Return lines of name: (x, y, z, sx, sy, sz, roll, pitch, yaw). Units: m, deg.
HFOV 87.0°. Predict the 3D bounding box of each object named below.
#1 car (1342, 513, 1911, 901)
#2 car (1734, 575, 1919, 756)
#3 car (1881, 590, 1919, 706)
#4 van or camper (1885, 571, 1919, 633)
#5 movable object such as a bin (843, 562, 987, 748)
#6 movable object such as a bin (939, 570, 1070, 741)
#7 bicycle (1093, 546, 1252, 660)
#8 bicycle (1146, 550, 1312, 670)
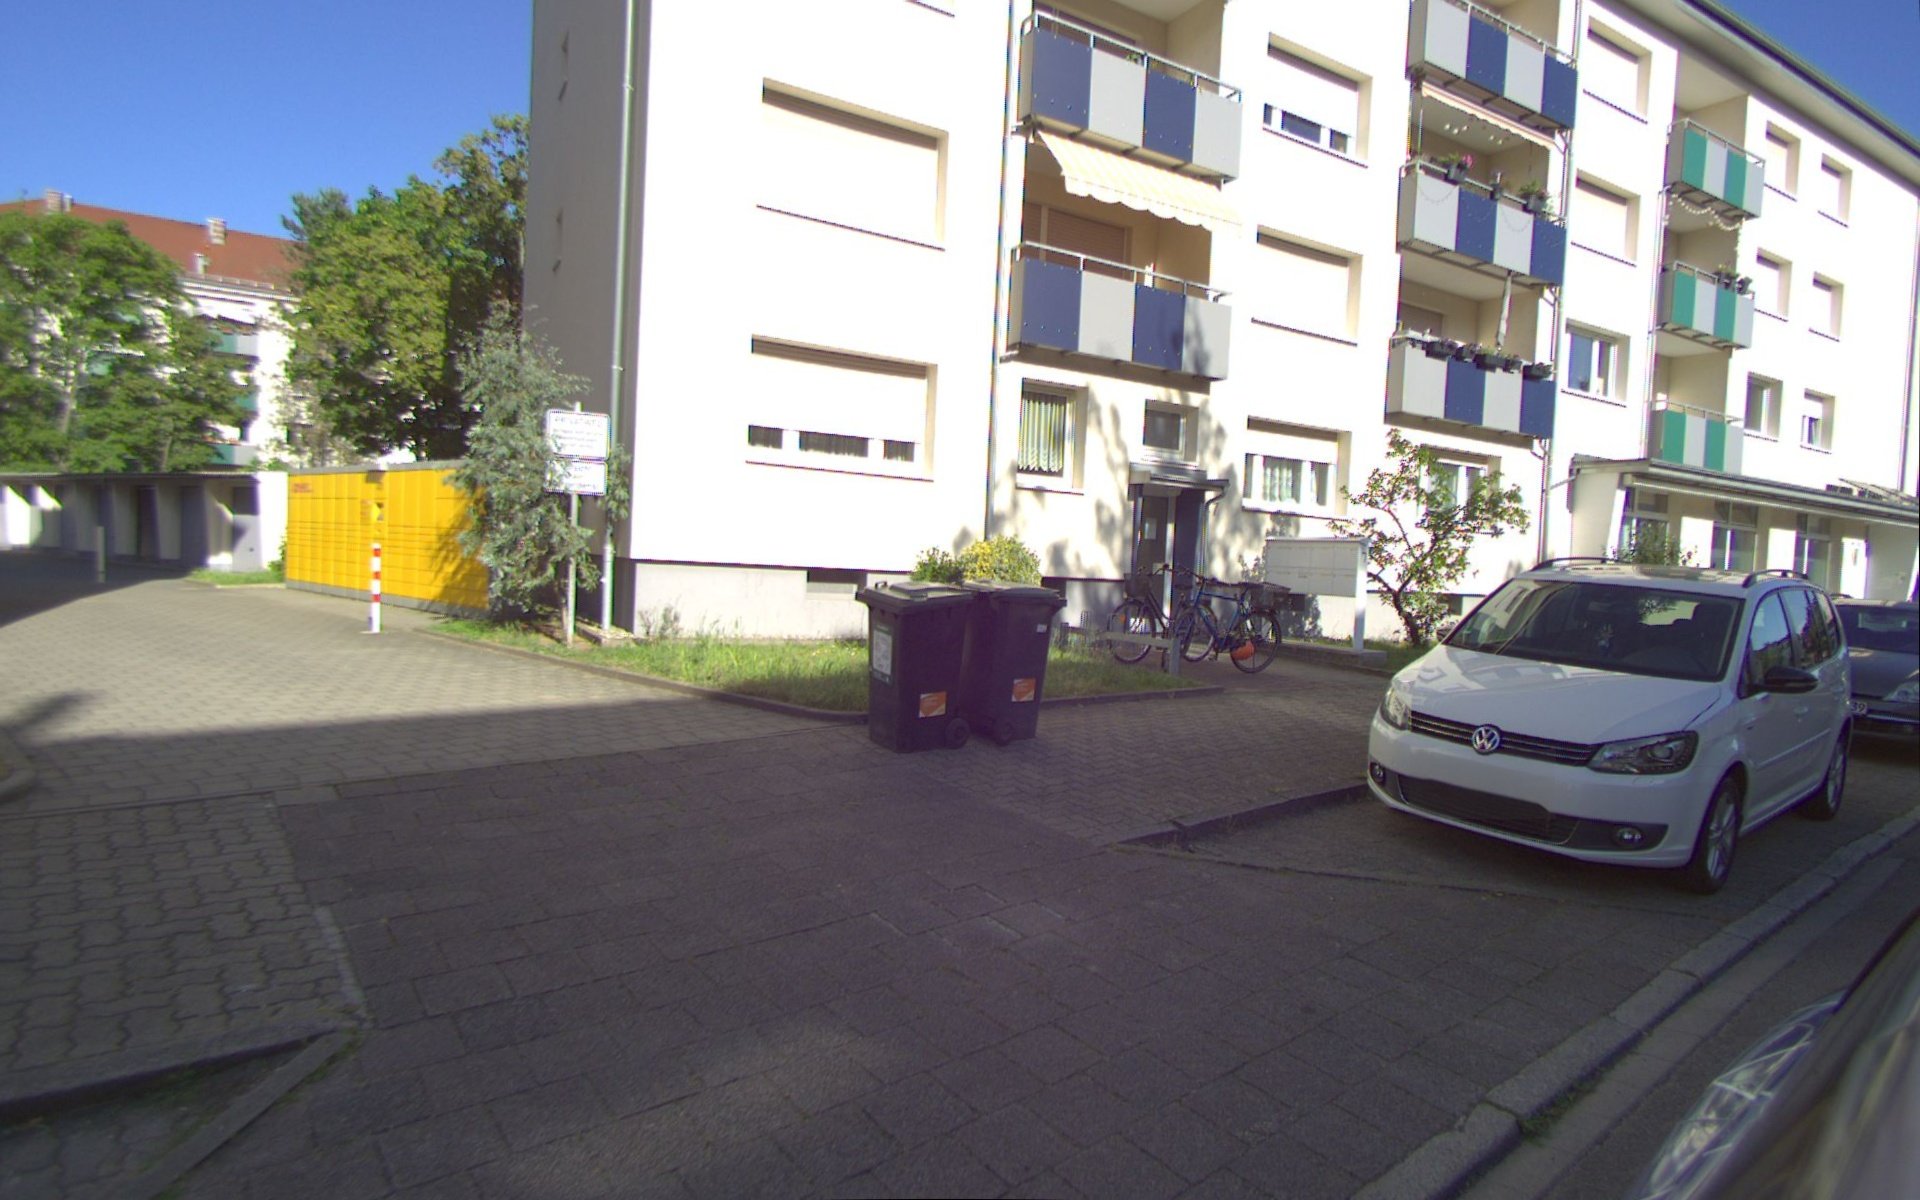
car: (4.456, 0.456, 6.484, 4.310, 1.675, 1.699, 1, 4, -39)
car: (9.717, 0.609, 10.440, 4.604, 1.448, 1.699, 1, 4, -40)
car: (14.517, 0.661, 13.754, 4.630, 1.464, 1.685, 0, 3, -32)
van or camper: (34.112, 0.252, 33.160, 1.959, 2.038, 5.150, 4, 2, -29)
movable object such as a bin: (-0.301, 0.337, 6.622, 0.669, 1.108, 0.586, 1, 5, -34)
movable object such as a bin: (0.301, 0.353, 7.018, 0.628, 1.068, 0.586, -1, 7, -34)
bicycle: (2.462, 0.044, 11.677, 1.796, 1.217, 0.517, 2, 4, -28)
bicycle: (2.955, 0.118, 11.074, 1.724, 1.217, 0.518, 2, 4, -24)
